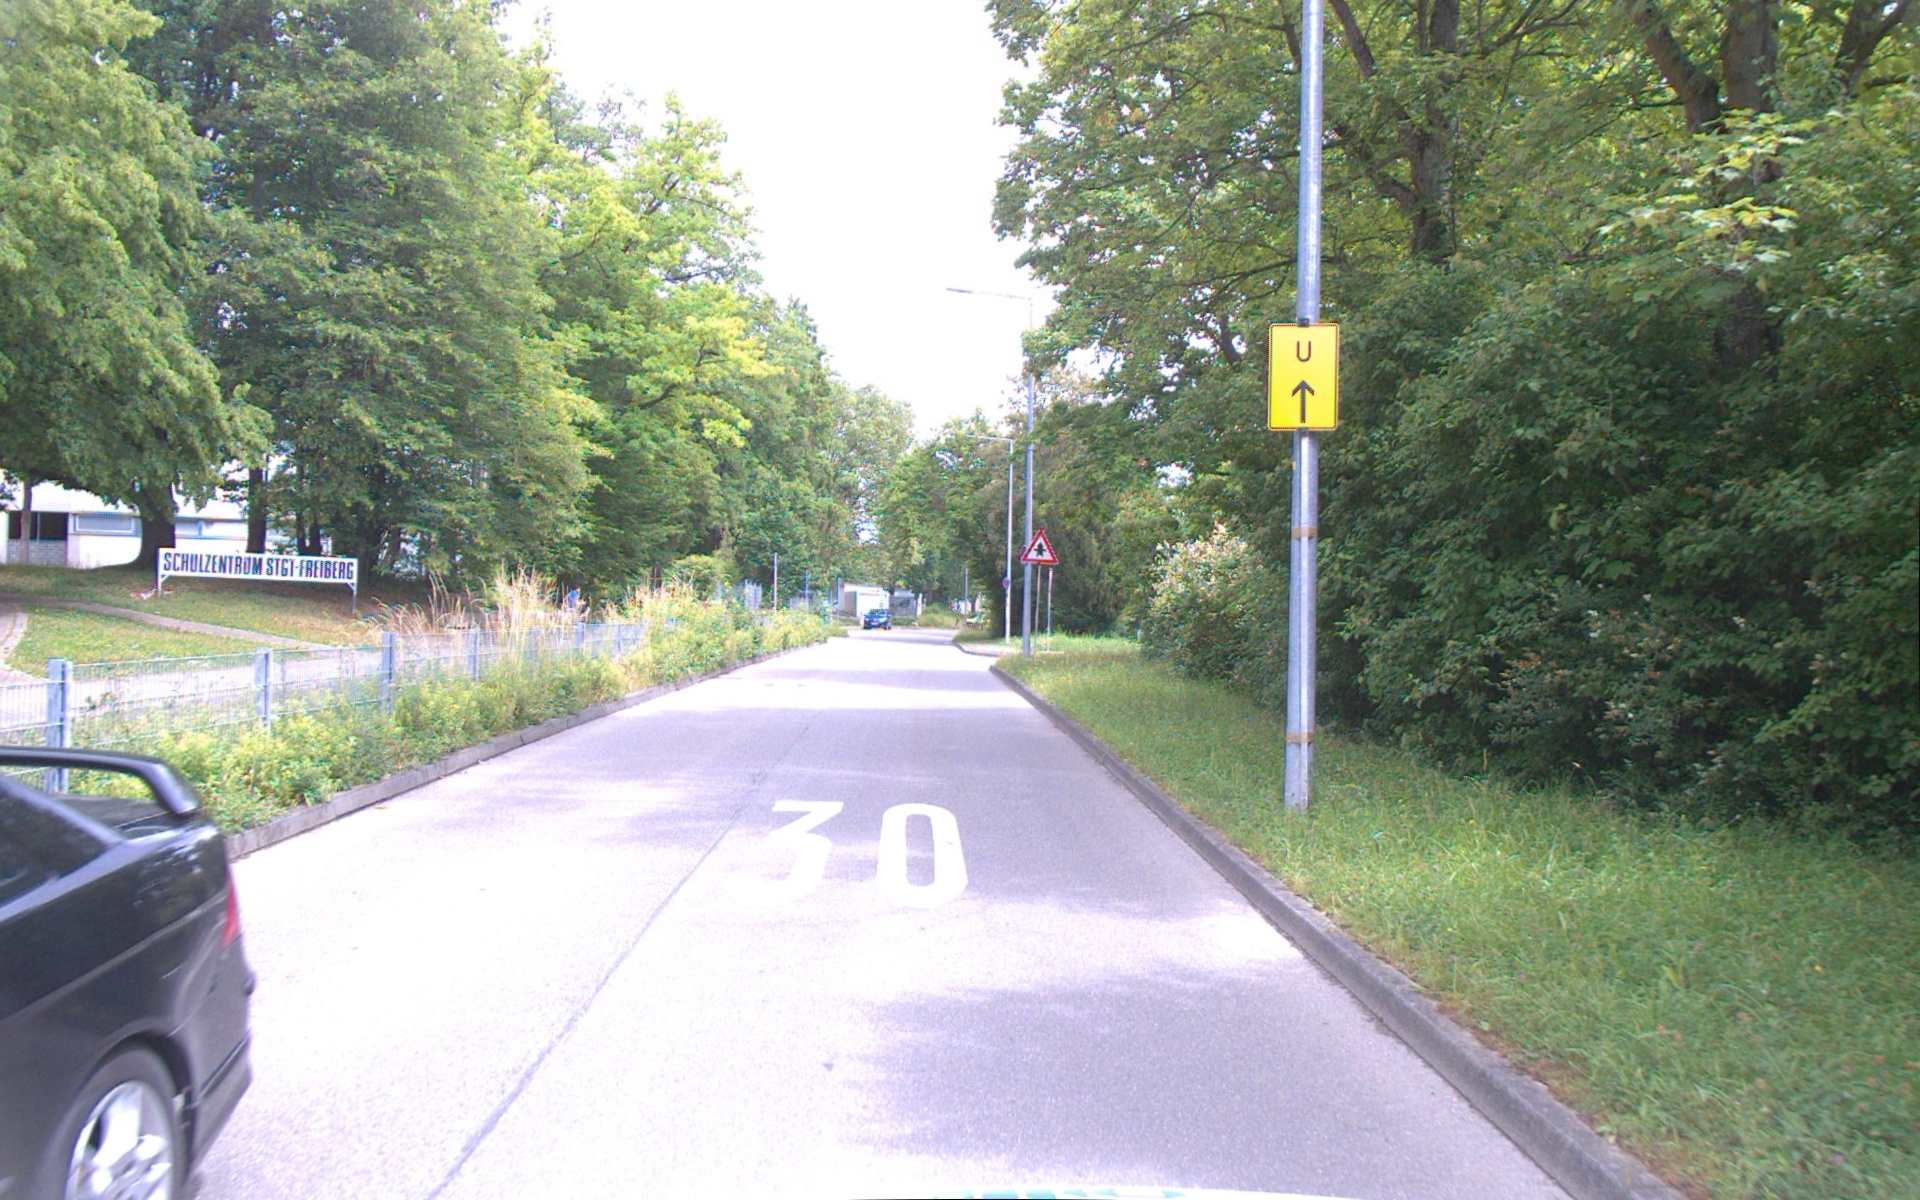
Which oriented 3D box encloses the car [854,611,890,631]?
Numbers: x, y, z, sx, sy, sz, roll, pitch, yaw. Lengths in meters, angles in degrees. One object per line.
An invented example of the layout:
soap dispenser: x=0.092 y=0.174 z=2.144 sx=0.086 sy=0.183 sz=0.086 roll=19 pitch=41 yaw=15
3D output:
car: x=-6.379 y=1.503 z=120.181 sx=1.937 sy=1.408 sz=4.003 roll=2 pitch=0 yaw=6

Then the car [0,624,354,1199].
car: x=-2.350 y=0.763 z=2.111 sx=1.658 sy=1.372 sz=4.094 roll=1 pitch=0 yaw=0

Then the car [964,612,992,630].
car: x=1.734 y=2.042 z=157.773 sx=1.820 sy=1.518 sz=4.002 roll=-2 pitch=-3 yaw=13

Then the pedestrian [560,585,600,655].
pedestrian: x=-11.436 y=0.621 z=49.776 sx=0.863 sy=2.049 sz=0.861 roll=-4 pitch=-4 yaw=44
